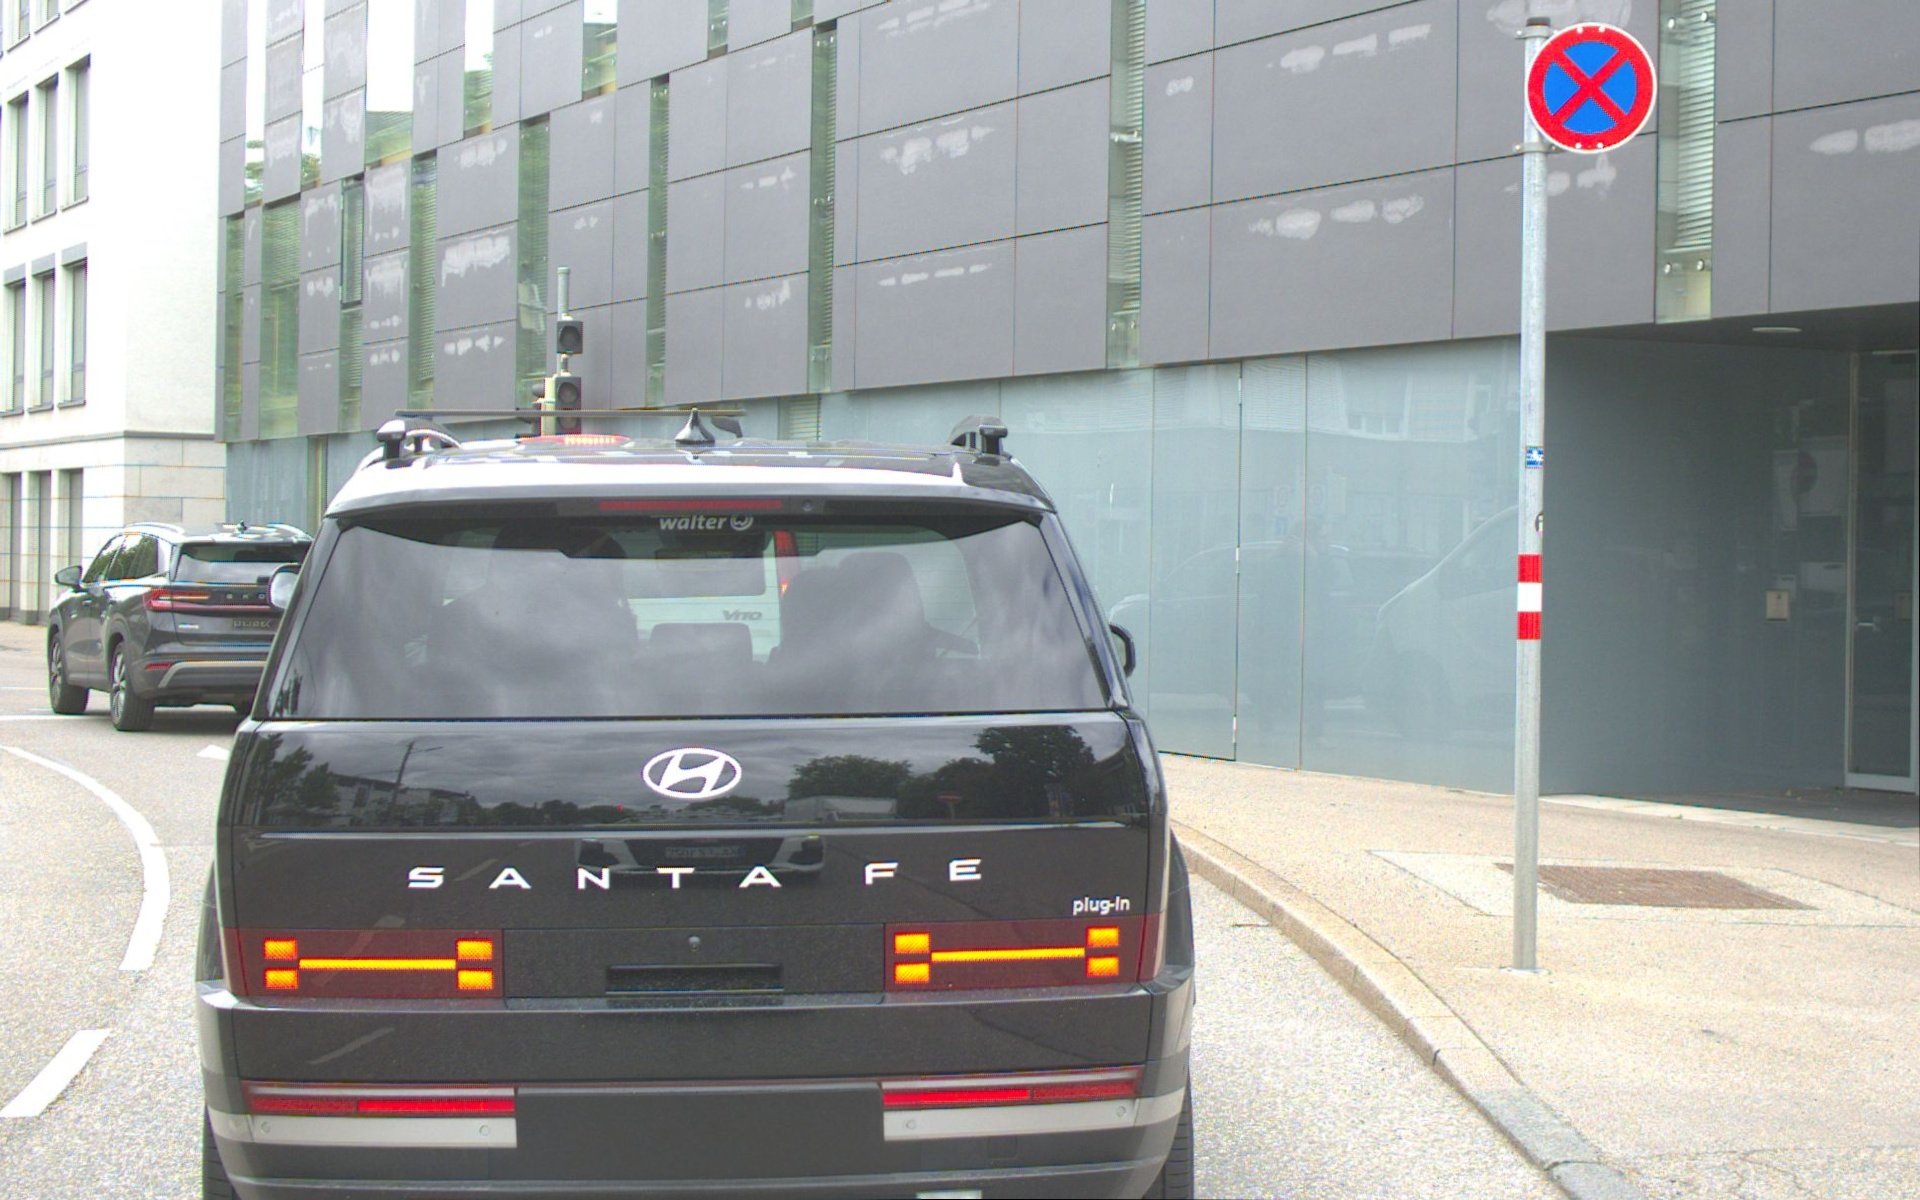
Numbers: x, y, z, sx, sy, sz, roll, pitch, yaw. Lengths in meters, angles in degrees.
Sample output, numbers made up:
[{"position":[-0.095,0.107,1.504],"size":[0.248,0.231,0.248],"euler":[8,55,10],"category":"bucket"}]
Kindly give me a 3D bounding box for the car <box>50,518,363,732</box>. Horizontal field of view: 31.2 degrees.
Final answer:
[{"position":[-6.232,0.152,28.106],"size":[1.759,1.603,4.189],"euler":[1,1,-23],"category":"car"}]

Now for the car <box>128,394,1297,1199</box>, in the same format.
[{"position":[-0.641,0.502,7.817],"size":[1.908,1.743,4.398],"euler":[0,1,-7],"category":"car"}]

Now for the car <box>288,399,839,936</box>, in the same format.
[{"position":[-1.909,0.219,15.145],"size":[1.931,1.987,4.536],"euler":[1,1,-12],"category":"car"}]

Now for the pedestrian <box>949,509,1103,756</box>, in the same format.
[{"position":[0.460,0.220,24.055],"size":[0.711,1.688,0.866],"euler":[1,0,-26],"category":"pedestrian"}]
